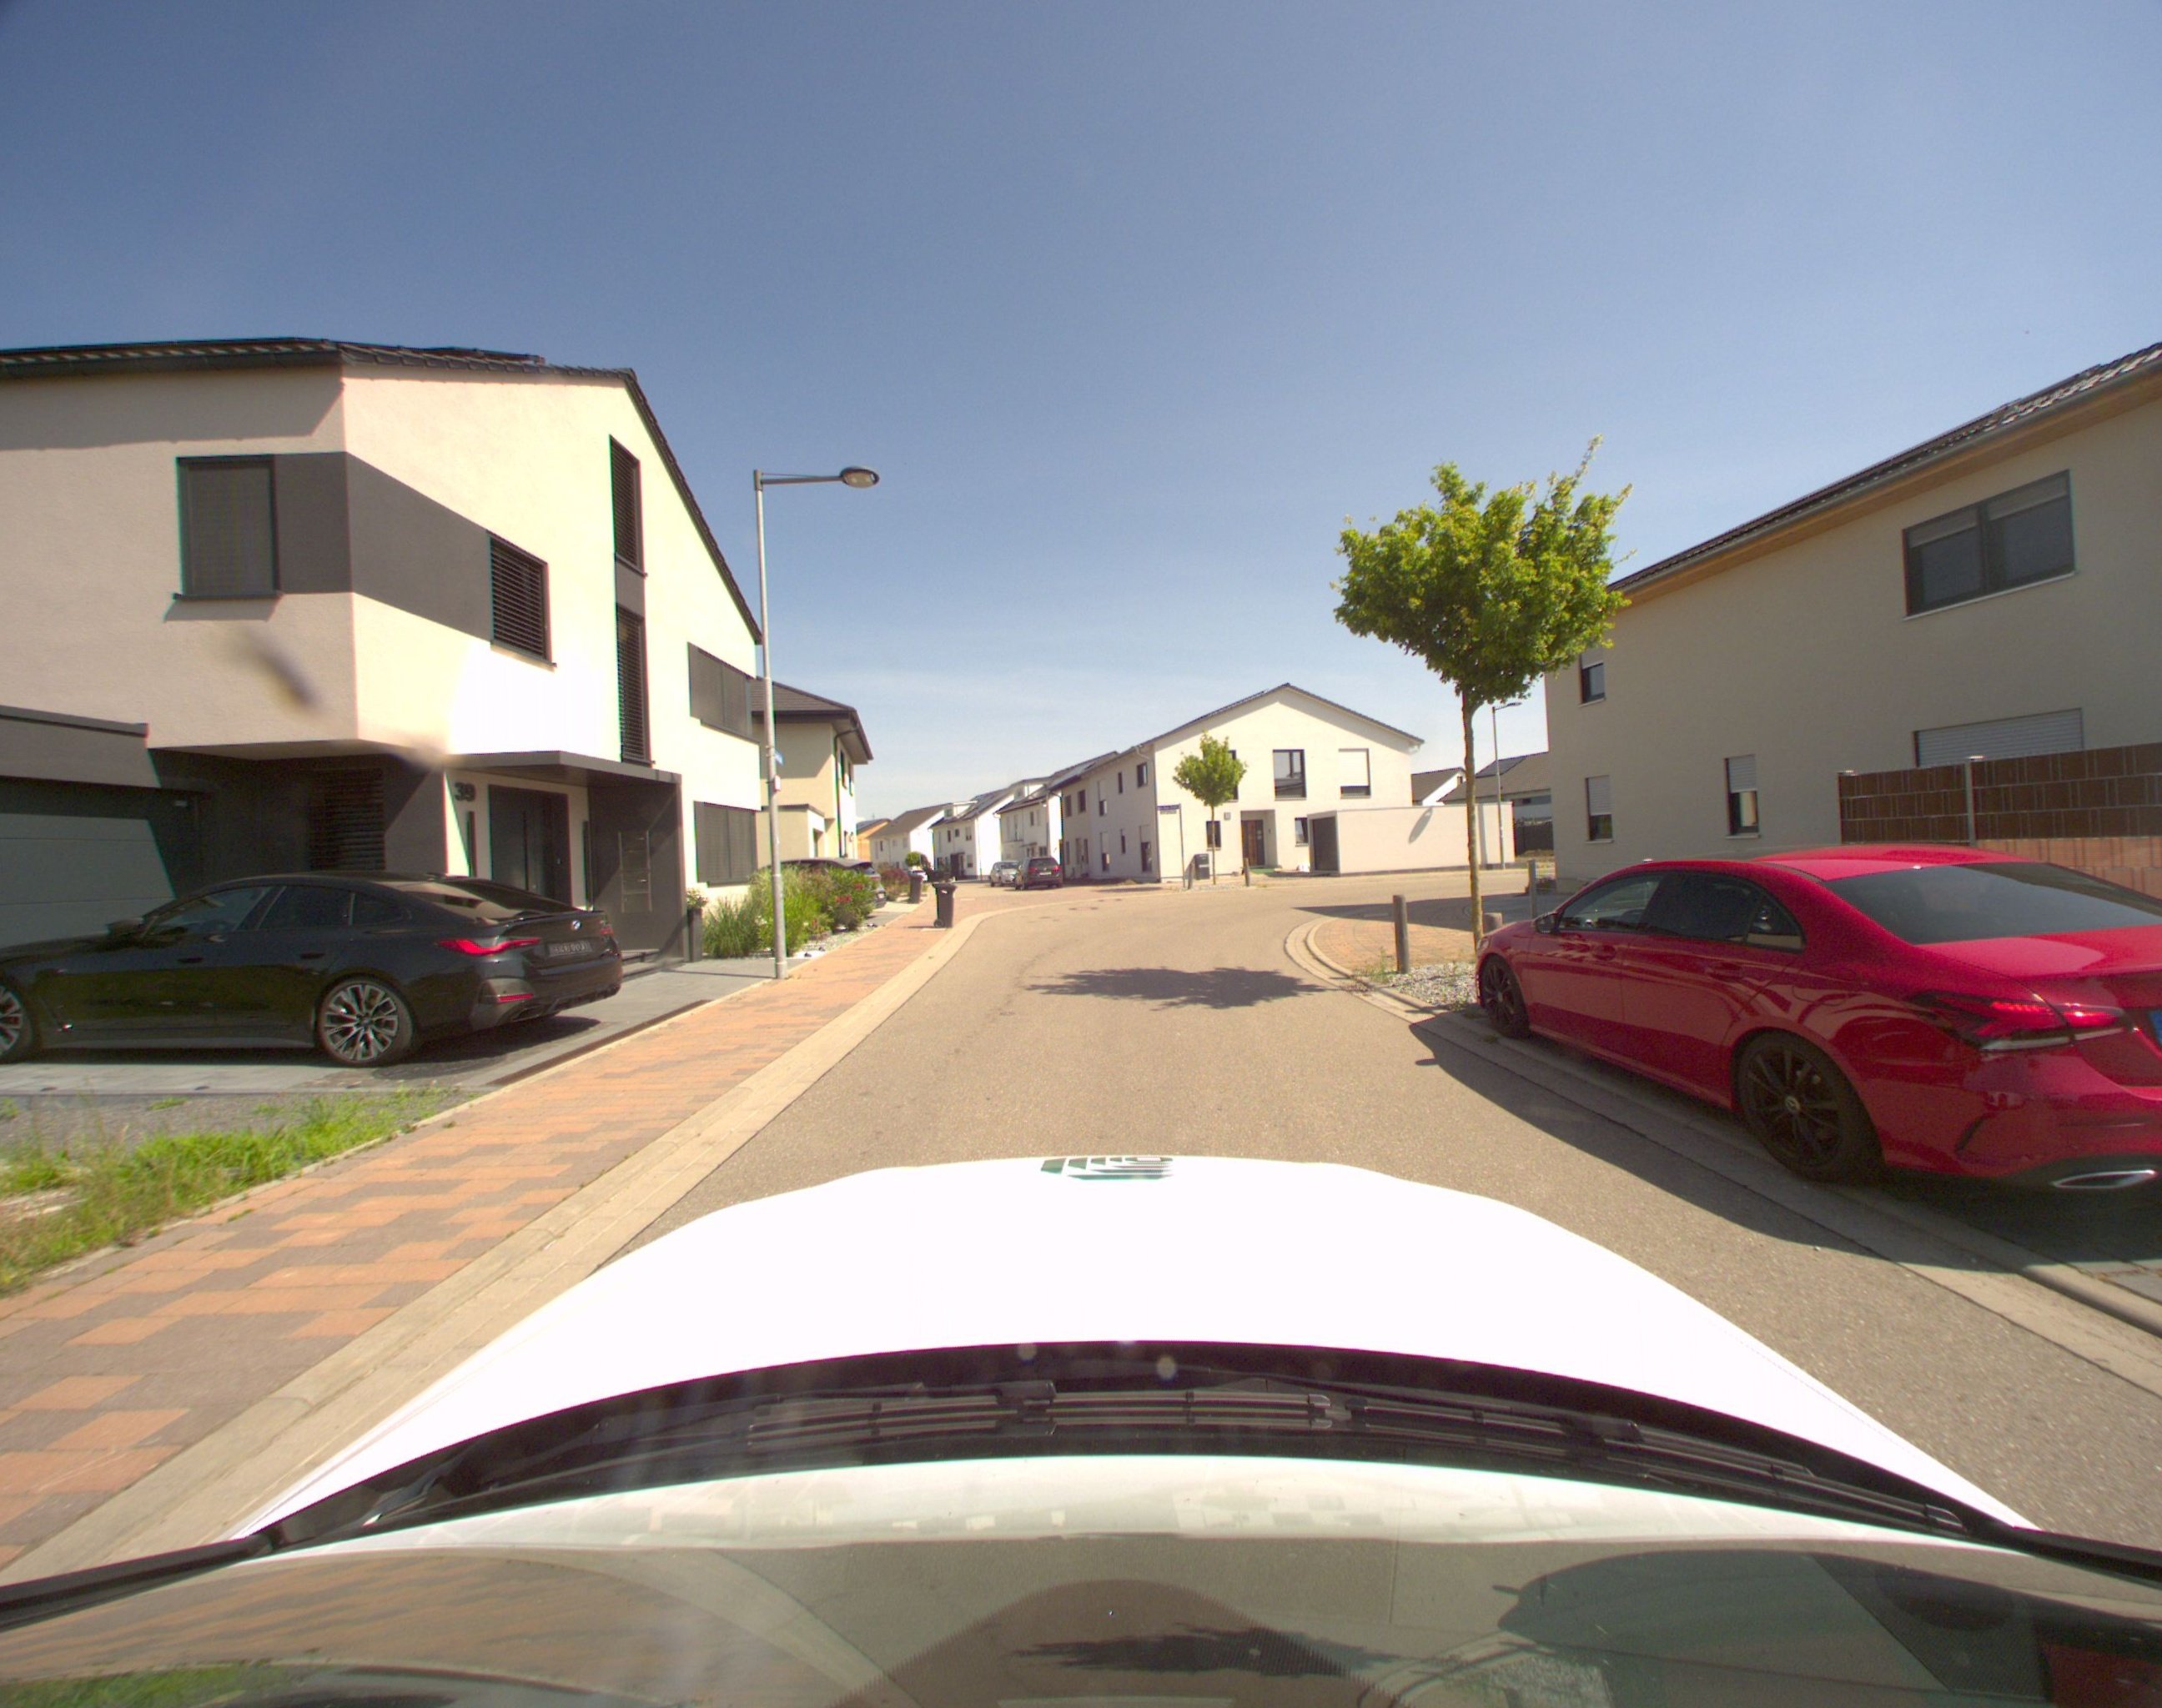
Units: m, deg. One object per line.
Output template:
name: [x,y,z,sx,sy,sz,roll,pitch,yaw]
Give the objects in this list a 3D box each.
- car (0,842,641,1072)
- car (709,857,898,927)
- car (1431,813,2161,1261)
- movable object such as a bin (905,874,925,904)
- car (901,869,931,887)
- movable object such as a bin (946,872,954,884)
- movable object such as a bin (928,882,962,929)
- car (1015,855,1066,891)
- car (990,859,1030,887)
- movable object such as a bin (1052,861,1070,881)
car: [-6.310,0.751,6.737,4.360,1.631,1.771,0,0,1]
car: [-6.728,0.902,20.017,3.971,1.486,1.755,-2,0,2]
car: [4.024,0.609,5.024,1.756,1.438,4.520,-4,0,1]
movable object such as a bin: [-5.209,1.094,25.552,0.614,0.927,0.422,0,-2,-10]
car: [-16.115,2.372,79.409,1.790,1.596,3.964,-3,0,-27]
movable object such as a bin: [-10.576,1.911,65.744,0.558,0.949,0.245,-3,-1,-17]
movable object such as a bin: [-2.834,1.064,16.984,0.531,0.936,0.527,-1,0,10]
car: [-1.876,0.858,36.813,1.727,1.423,3.985,-3,0,-10]
car: [-4.105,1.066,46.563,1.679,1.464,3.927,-3,0,-13]
movable object such as a bin: [-1.142,0.982,47.023,0.786,1.050,0.800,-5,0,-15]
